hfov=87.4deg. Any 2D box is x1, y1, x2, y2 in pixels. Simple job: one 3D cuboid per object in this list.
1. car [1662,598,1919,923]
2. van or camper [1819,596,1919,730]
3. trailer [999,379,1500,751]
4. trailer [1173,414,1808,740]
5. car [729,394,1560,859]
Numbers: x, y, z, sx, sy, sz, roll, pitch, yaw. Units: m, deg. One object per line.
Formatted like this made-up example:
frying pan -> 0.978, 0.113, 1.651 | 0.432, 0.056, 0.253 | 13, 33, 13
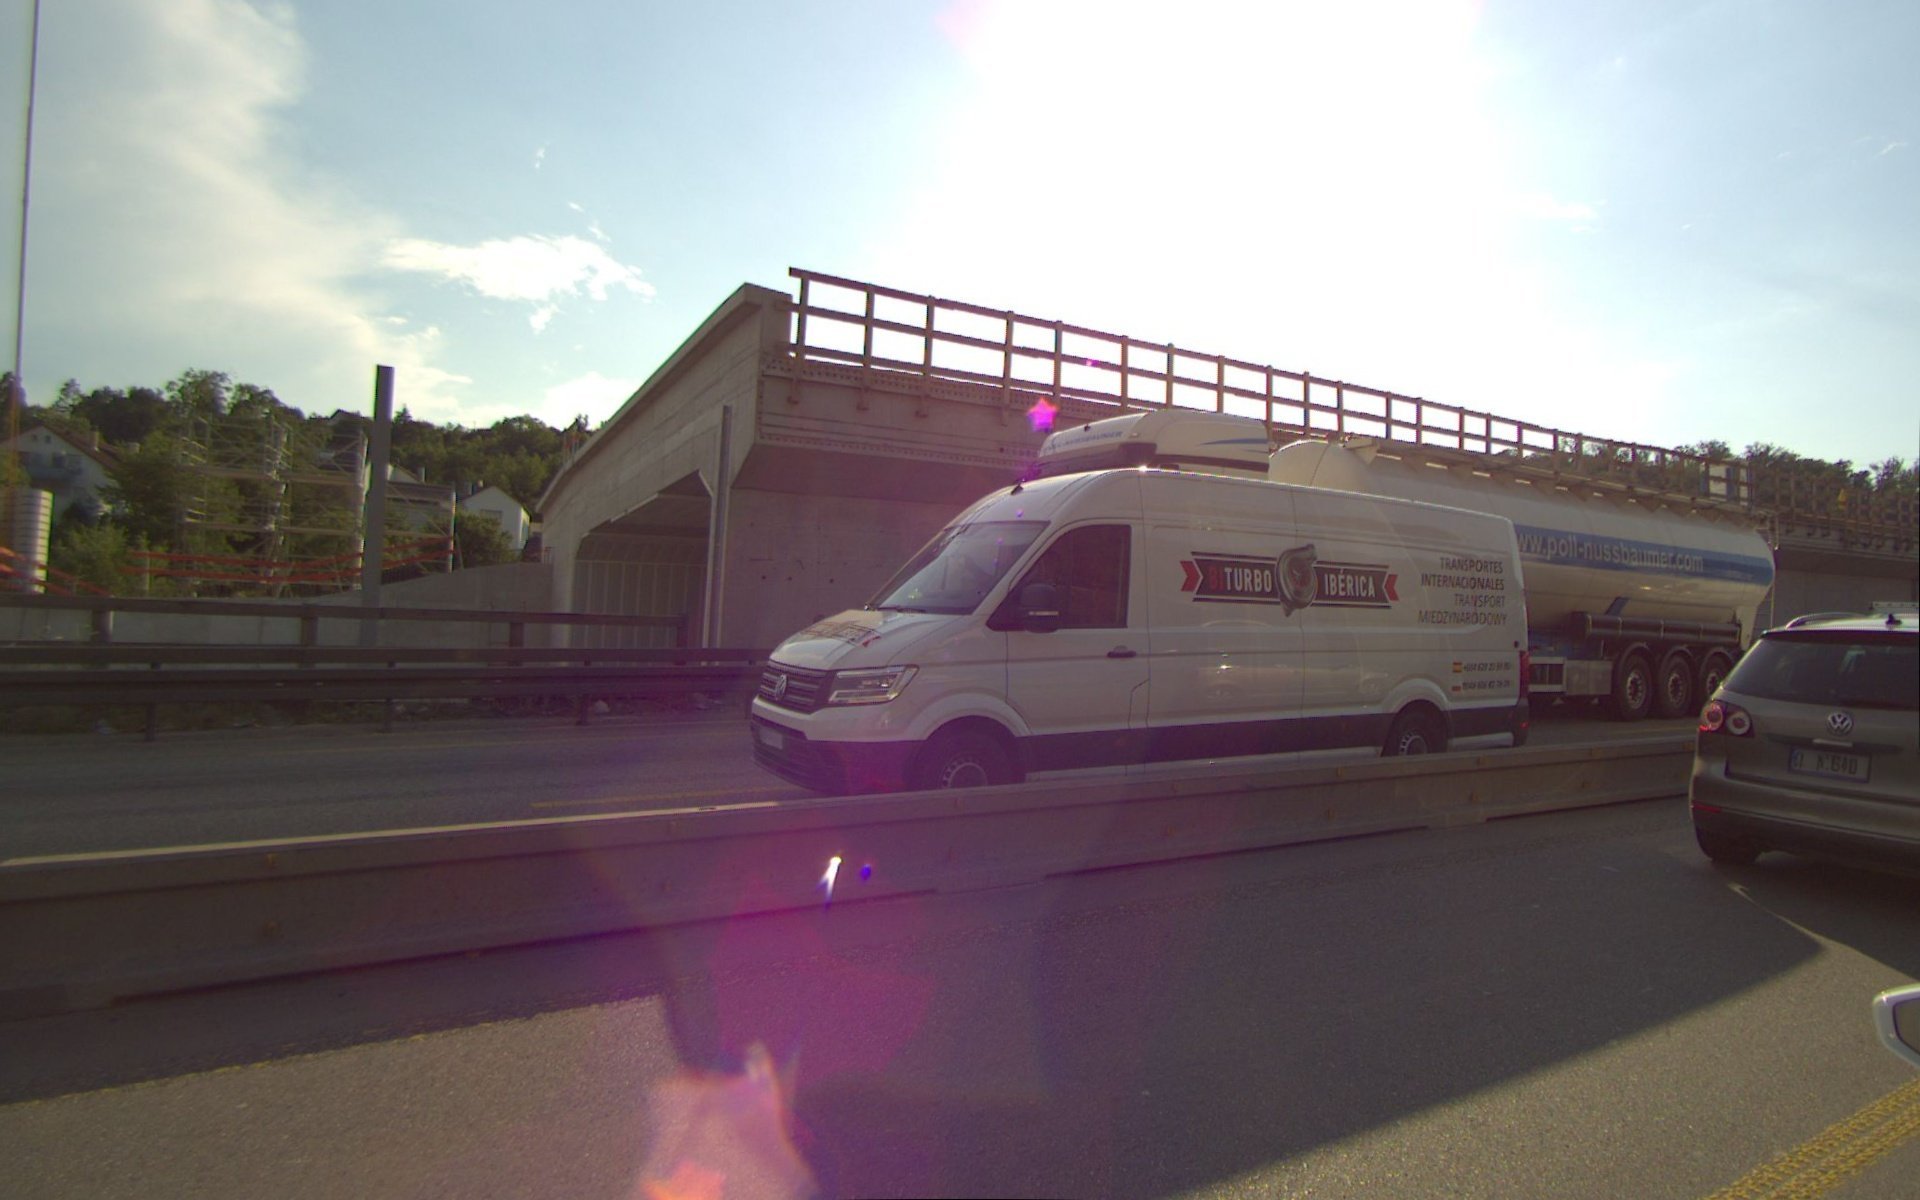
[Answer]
car -> 6.422, 0.874, 6.330 | 4.222, 1.609, 1.672 | 2, -1, -31
van or camper -> 16.815, 1.047, 17.039 | 5.236, 2.040, 1.848 | 2, 0, -32
trailer -> 3.945, -0.290, 13.287 | 6.355, 3.901, 2.639 | 2, 0, -31
trailer -> 9.458, -0.094, 16.572 | 13.287, 3.901, 2.639 | 2, 0, -31
car -> 1.965, 0.248, 8.462 | 7.324, 2.657, 1.984 | 2, 0, -31
